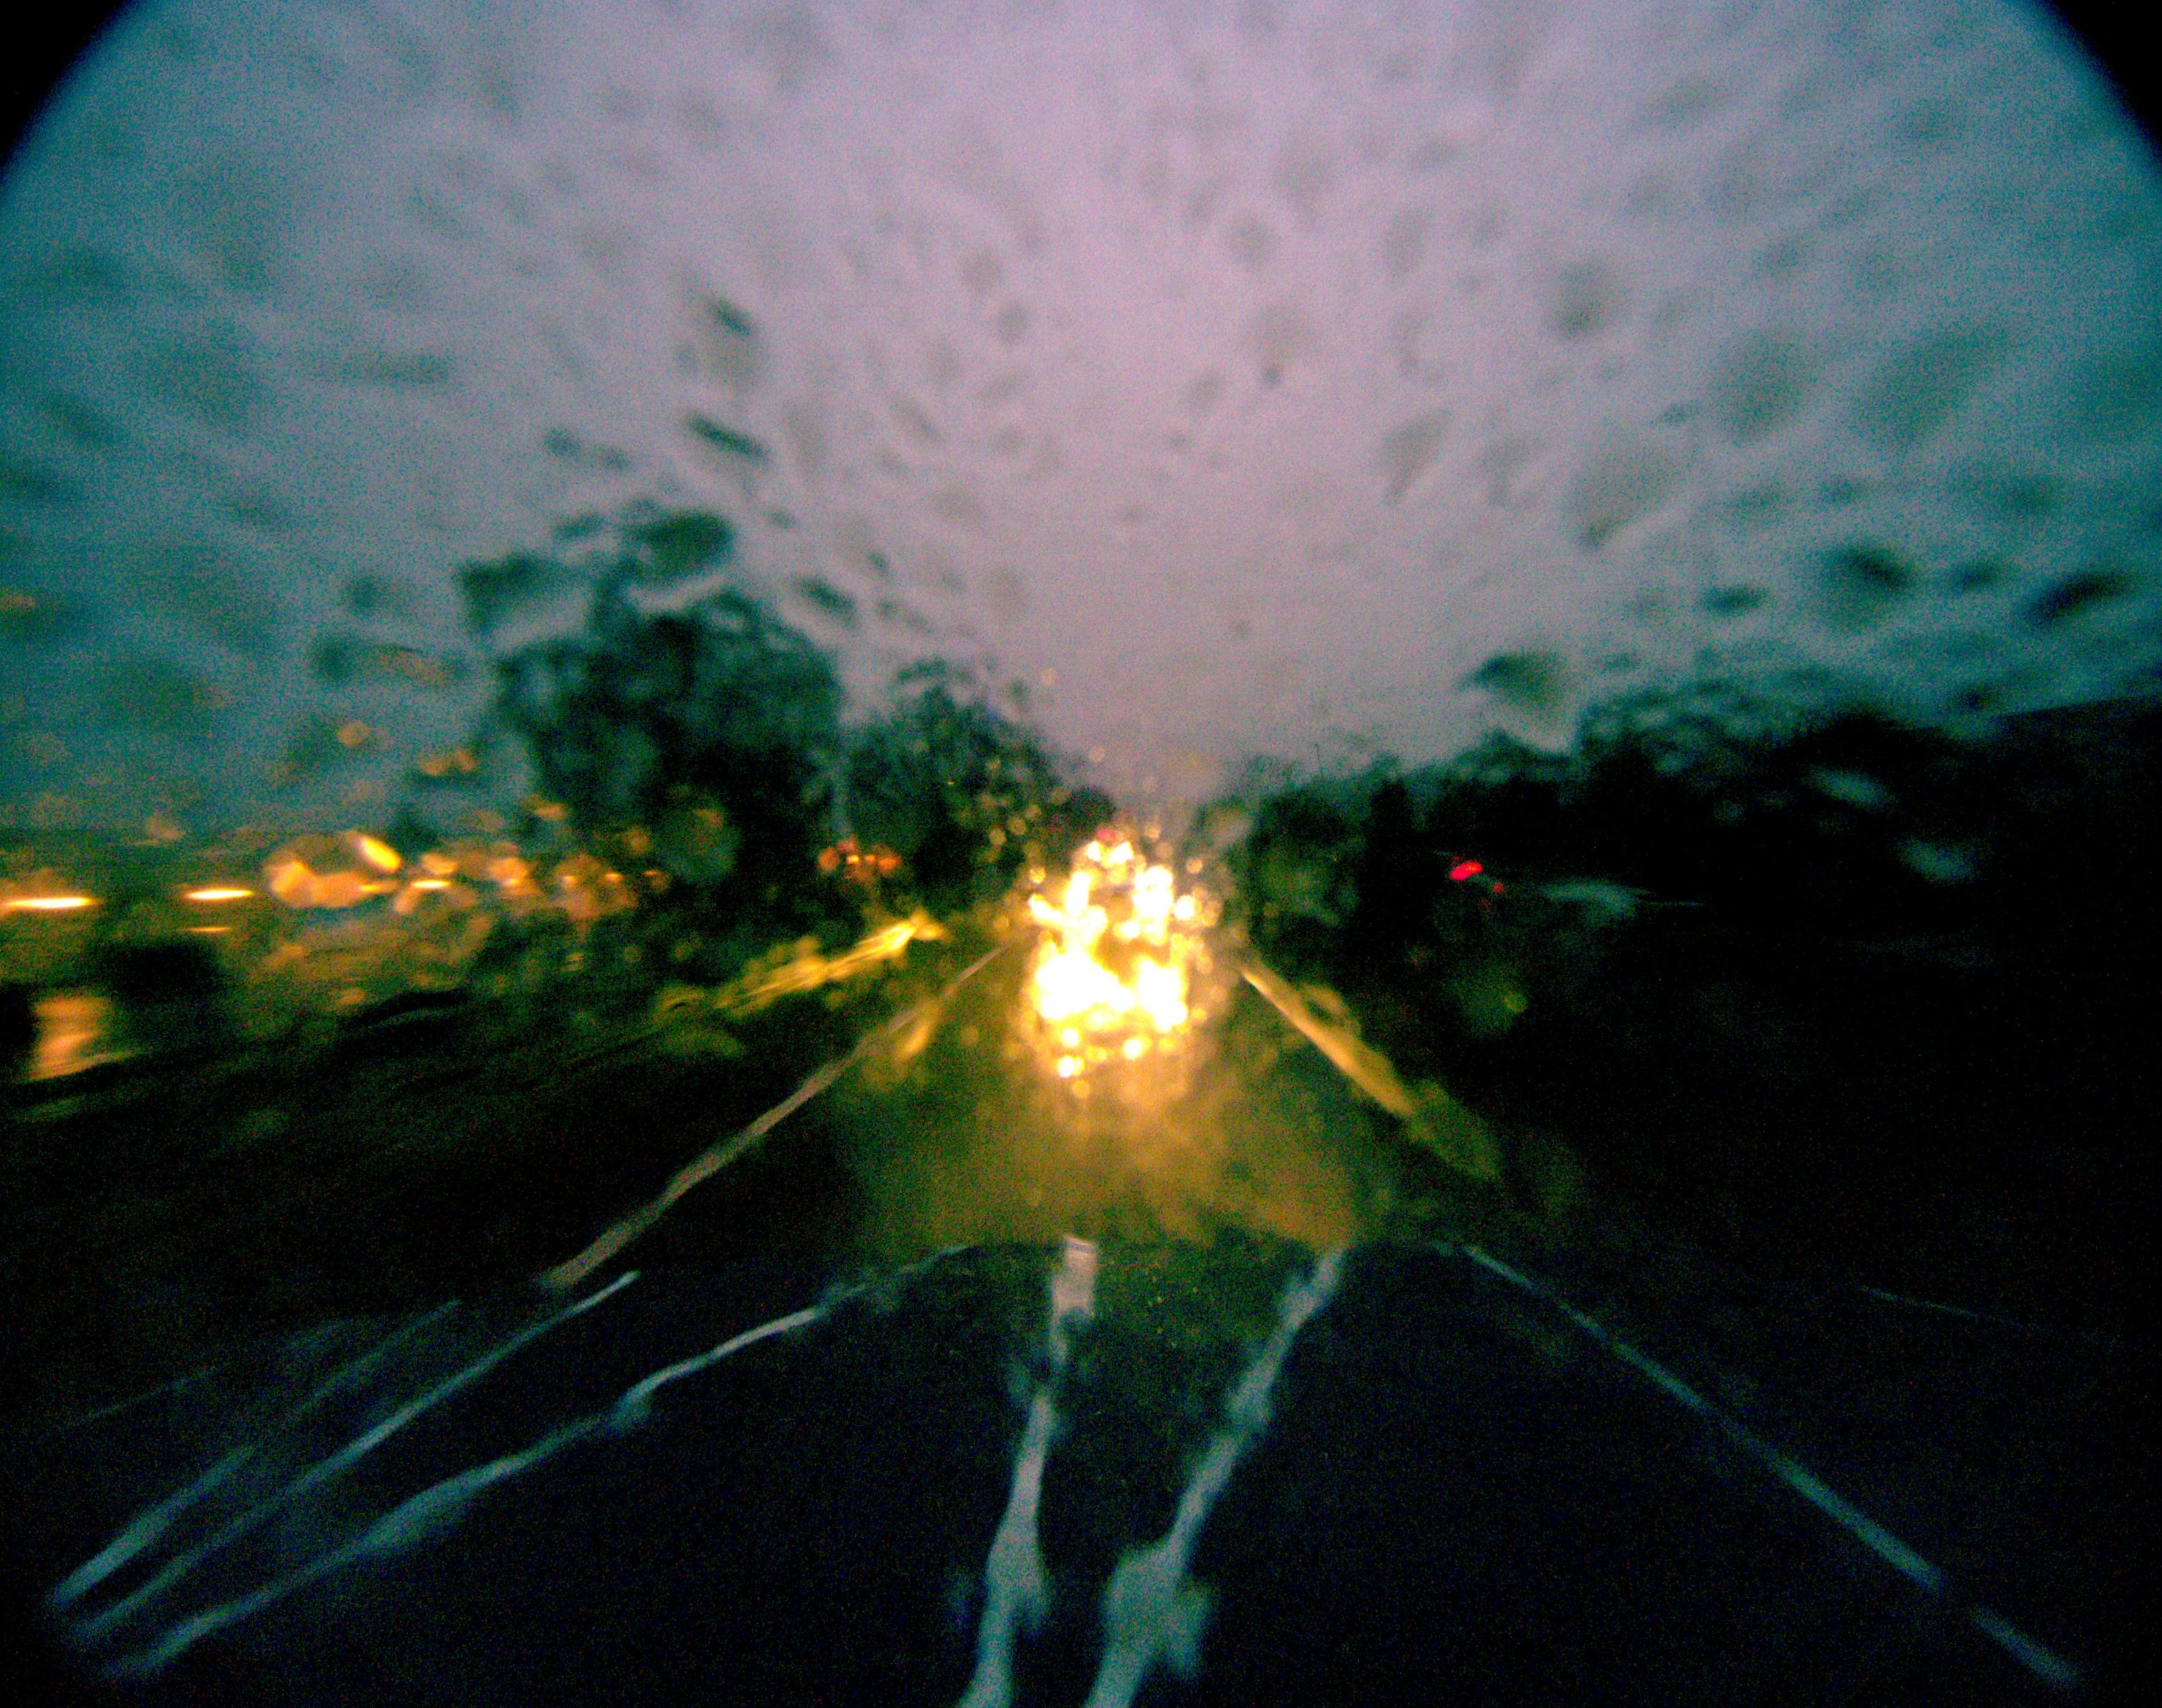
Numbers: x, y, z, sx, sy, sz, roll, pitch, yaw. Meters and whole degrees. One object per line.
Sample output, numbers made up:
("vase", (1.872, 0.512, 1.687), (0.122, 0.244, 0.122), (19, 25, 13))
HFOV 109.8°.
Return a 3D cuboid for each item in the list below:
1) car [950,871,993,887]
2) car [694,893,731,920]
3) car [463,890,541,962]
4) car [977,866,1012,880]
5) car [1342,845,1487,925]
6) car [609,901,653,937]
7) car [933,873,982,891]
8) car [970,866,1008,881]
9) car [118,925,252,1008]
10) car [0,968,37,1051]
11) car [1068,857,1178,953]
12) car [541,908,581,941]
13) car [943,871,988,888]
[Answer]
("car", (-10.841, 2.456, 75.301), (4.011, 1.404, 1.714), (-2, 1, -2))
("car", (-22.061, 3.119, 45.411), (1.532, 1.330, 3.579), (-2, 1, -32))
("car", (-23.437, 2.795, 30.951), (2.285, 2.426, 5.226), (-2, 1, -35))
("car", (-10.389, 2.270, 91.735), (4.011, 1.523, 1.714), (-2, 1, -2))
("car", (7.565, 0.624, 17.648), (1.698, 1.569, 3.884), (-2, 1, 2))
("car", (-22.339, 3.180, 37.631), (1.717, 1.404, 4.004), (-2, 1, -32))
("car", (-10.705, 2.424, 66.201), (4.012, 1.424, 1.714), (-2, 1, -3))
("car", (-10.337, 2.177, 85.754), (4.011, 1.588, 1.806), (-2, 1, -2))
("car", (-27.688, 3.366, 23.661), (1.891, 1.946, 4.947), (-4, 1, -41))
("car", (-24.220, 3.453, 16.476), (3.249, 1.508, 1.723), (-3, 1, 37))
("car", (0.866, 0.895, 15.281), (1.809, 1.452, 4.246), (-4, 1, 4))
("car", (-26.330, 3.533, 38.553), (1.532, 1.330, 3.579), (-2, 1, -32))
("car", (-10.902, 2.425, 71.970), (4.011, 1.404, 1.714), (-2, 1, -2))
